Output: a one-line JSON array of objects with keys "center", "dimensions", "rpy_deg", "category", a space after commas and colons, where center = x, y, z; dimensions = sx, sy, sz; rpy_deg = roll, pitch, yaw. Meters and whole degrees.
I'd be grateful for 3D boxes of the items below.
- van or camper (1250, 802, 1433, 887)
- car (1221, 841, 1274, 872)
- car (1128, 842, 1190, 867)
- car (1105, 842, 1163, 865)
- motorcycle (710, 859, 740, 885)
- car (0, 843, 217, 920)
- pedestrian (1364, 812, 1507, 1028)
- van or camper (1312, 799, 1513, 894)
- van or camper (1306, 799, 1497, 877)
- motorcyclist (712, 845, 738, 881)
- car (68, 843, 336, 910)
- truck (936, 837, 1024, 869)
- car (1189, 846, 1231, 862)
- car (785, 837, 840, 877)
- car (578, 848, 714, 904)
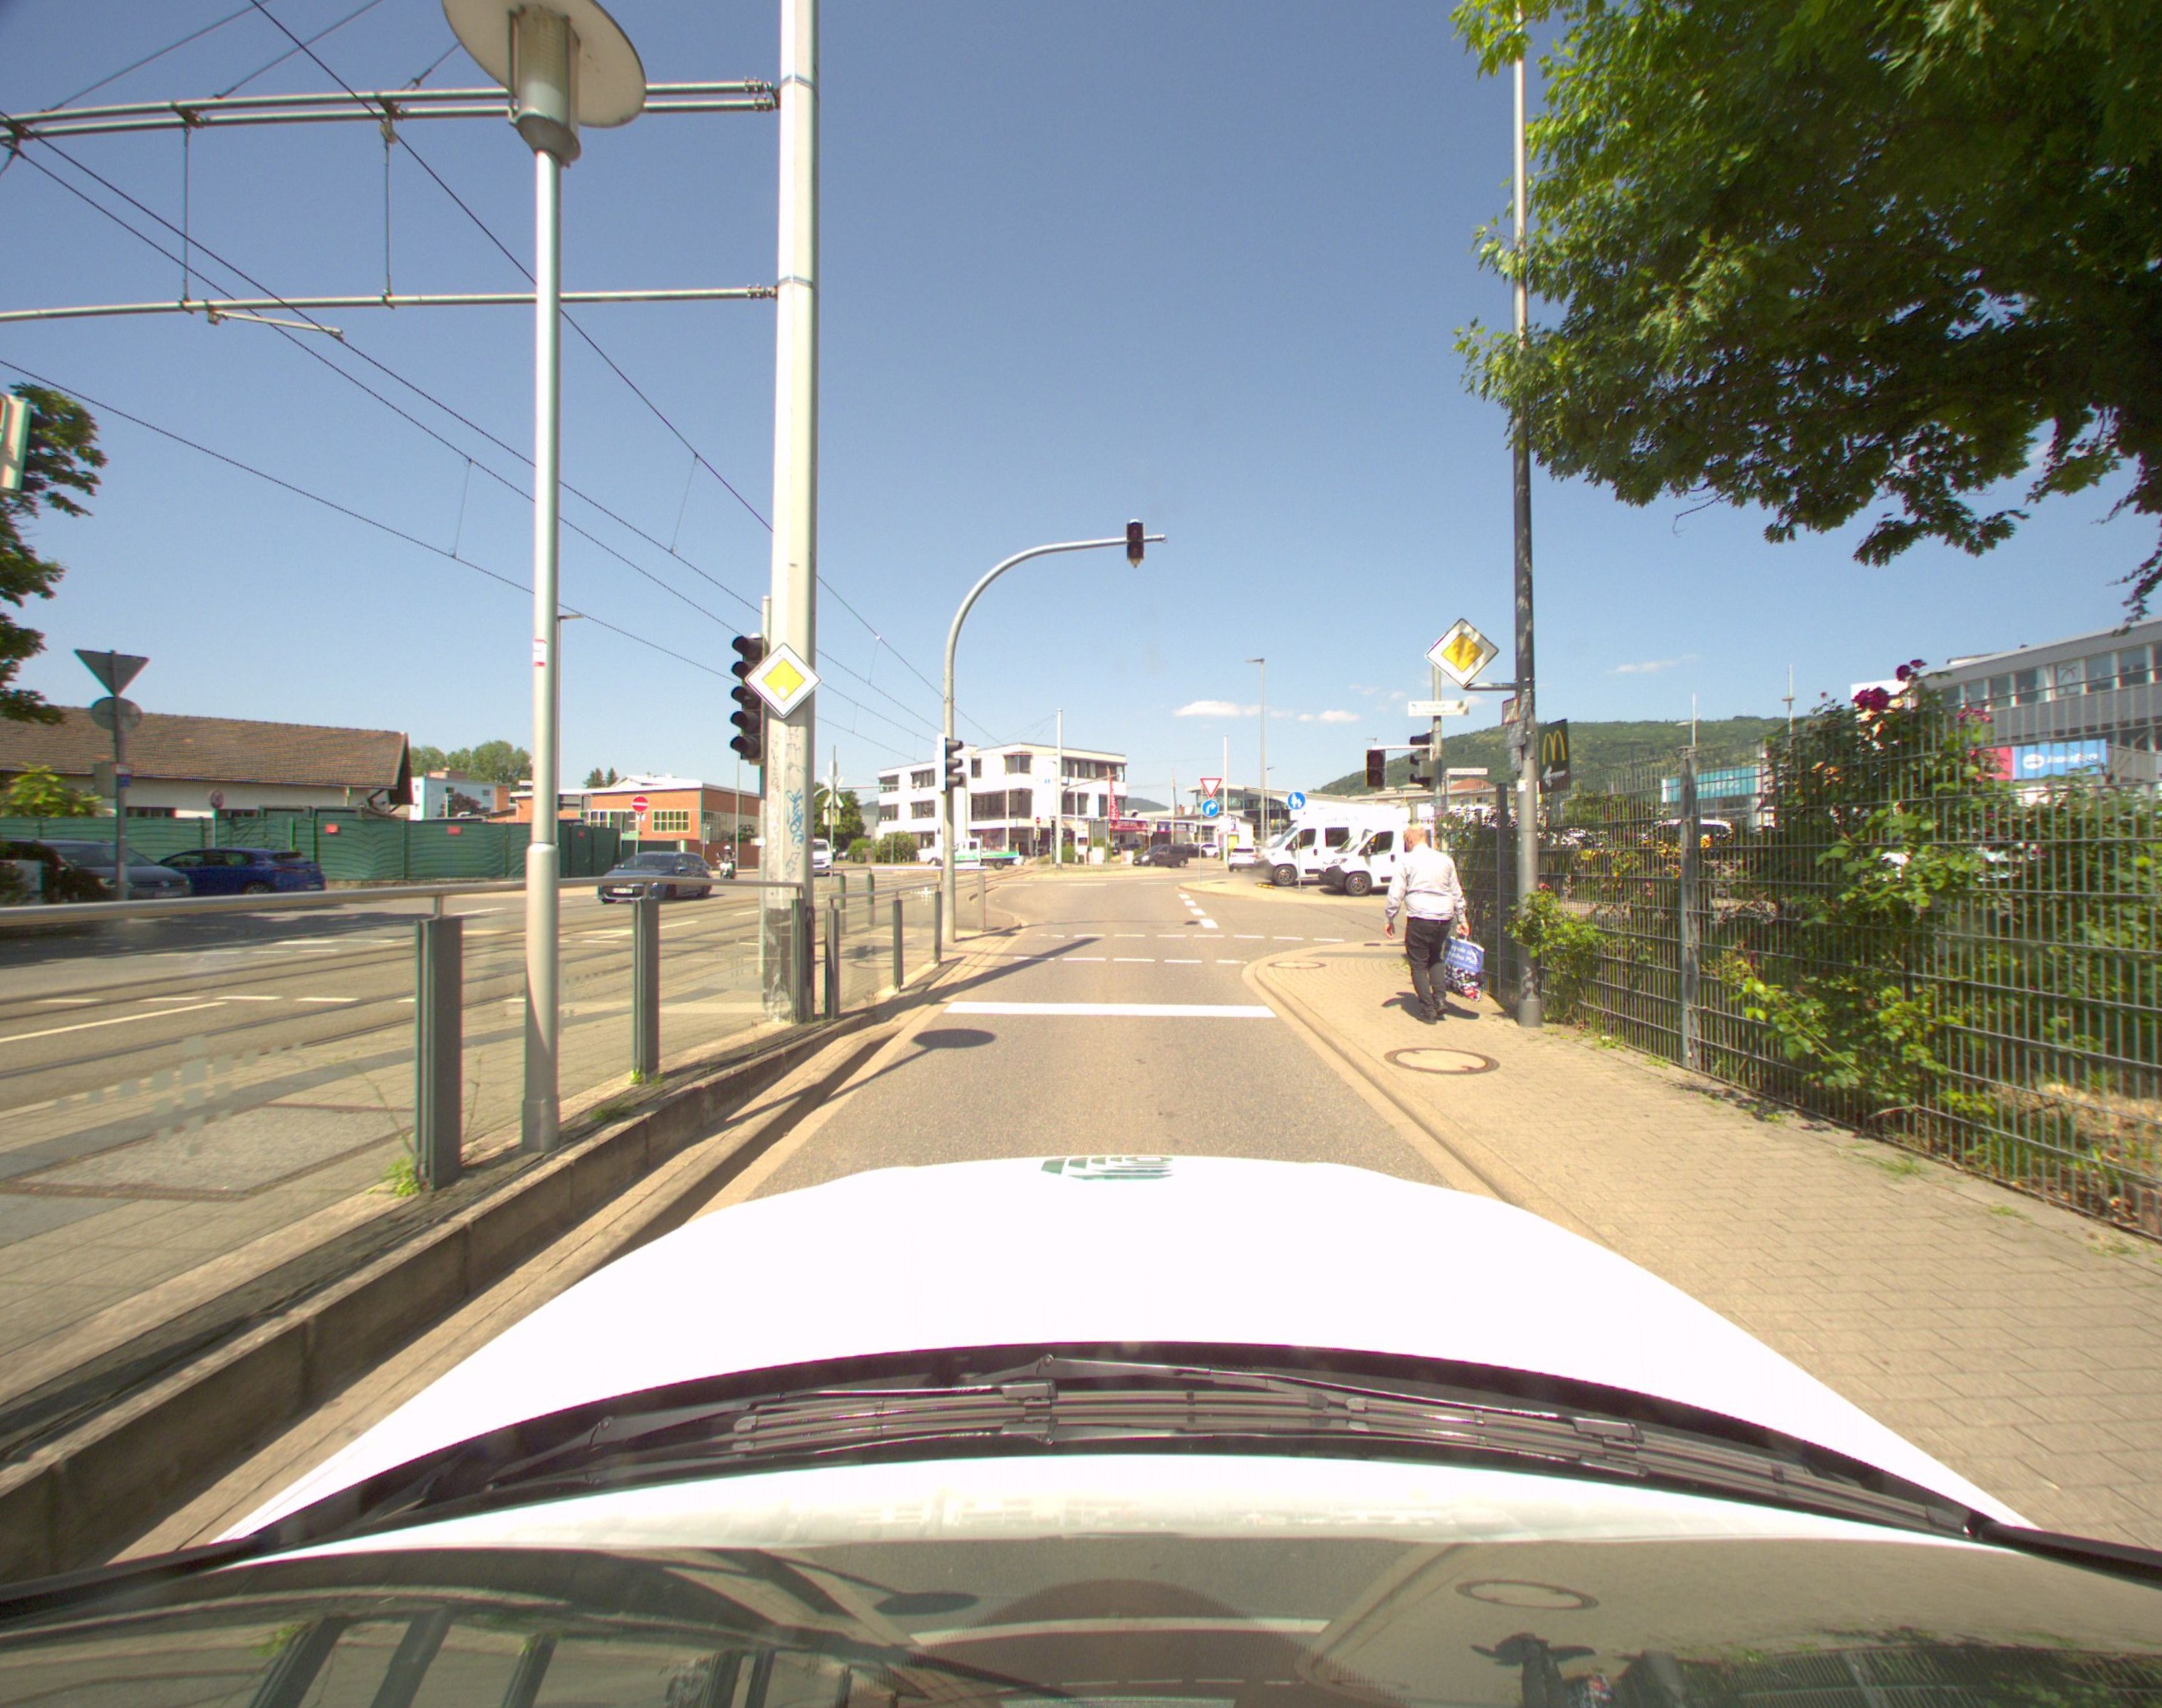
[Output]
[{"center": [8.996, -0.332, 28.552], "dimensions": [5.783, 2.773, 2.094], "rpy_deg": [-1, 1, 5], "category": "van or camper"}, {"center": [10.202, 0.128, 49.693], "dimensions": [1.975, 1.733, 4.591], "rpy_deg": [-2, -1, 27], "category": "car"}, {"center": [5.941, 0.032, 61.899], "dimensions": [4.421, 1.818, 1.971], "rpy_deg": [0, 0, -29], "category": "car"}, {"center": [4.702, -0.037, 72.380], "dimensions": [5.308, 1.965, 1.943], "rpy_deg": [0, 0, -41], "category": "car"}, {"center": [-14.773, 0.738, 33.824], "dimensions": [0.823, 1.011, 1.955], "rpy_deg": [0, 0, -14], "category": "motorcycle"}, {"center": [-21.752, 0.557, 17.588], "dimensions": [4.162, 1.583, 1.934], "rpy_deg": [0, 0, 1], "category": "car"}, {"center": [2.972, 0.522, 6.914], "dimensions": [0.810, 1.699, 0.887], "rpy_deg": [-1, 0, 0], "category": "pedestrian"}, {"center": [10.236, -0.278, 25.547], "dimensions": [5.478, 2.813, 2.052], "rpy_deg": [0, 2, 6], "category": "van or camper"}, {"center": [13.344, -0.658, 34.295], "dimensions": [7.033, 2.946, 2.336], "rpy_deg": [-2, -1, 2], "category": "van or camper"}, {"center": [-14.754, 0.376, 33.786], "dimensions": [0.837, 1.475, 0.958], "rpy_deg": [0, 0, -14], "category": "motorcyclist"}, {"center": [-21.741, 0.506, 20.379], "dimensions": [4.164, 1.537, 1.793], "rpy_deg": [0, 0, -21], "category": "car"}, {"center": [-7.422, -0.086, 60.022], "dimensions": [6.363, 2.337, 2.204], "rpy_deg": [0, 0, -8], "category": "truck"}, {"center": [14.059, -0.011, 88.610], "dimensions": [4.956, 1.589, 1.863], "rpy_deg": [0, -2, -45], "category": "car"}, {"center": [-14.188, 0.140, 43.277], "dimensions": [2.163, 2.013, 4.999], "rpy_deg": [0, 0, -11], "category": "car"}, {"center": [-12.472, 0.569, 23.707], "dimensions": [1.904, 1.442, 4.585], "rpy_deg": [0, 1, -6], "category": "car"}]
